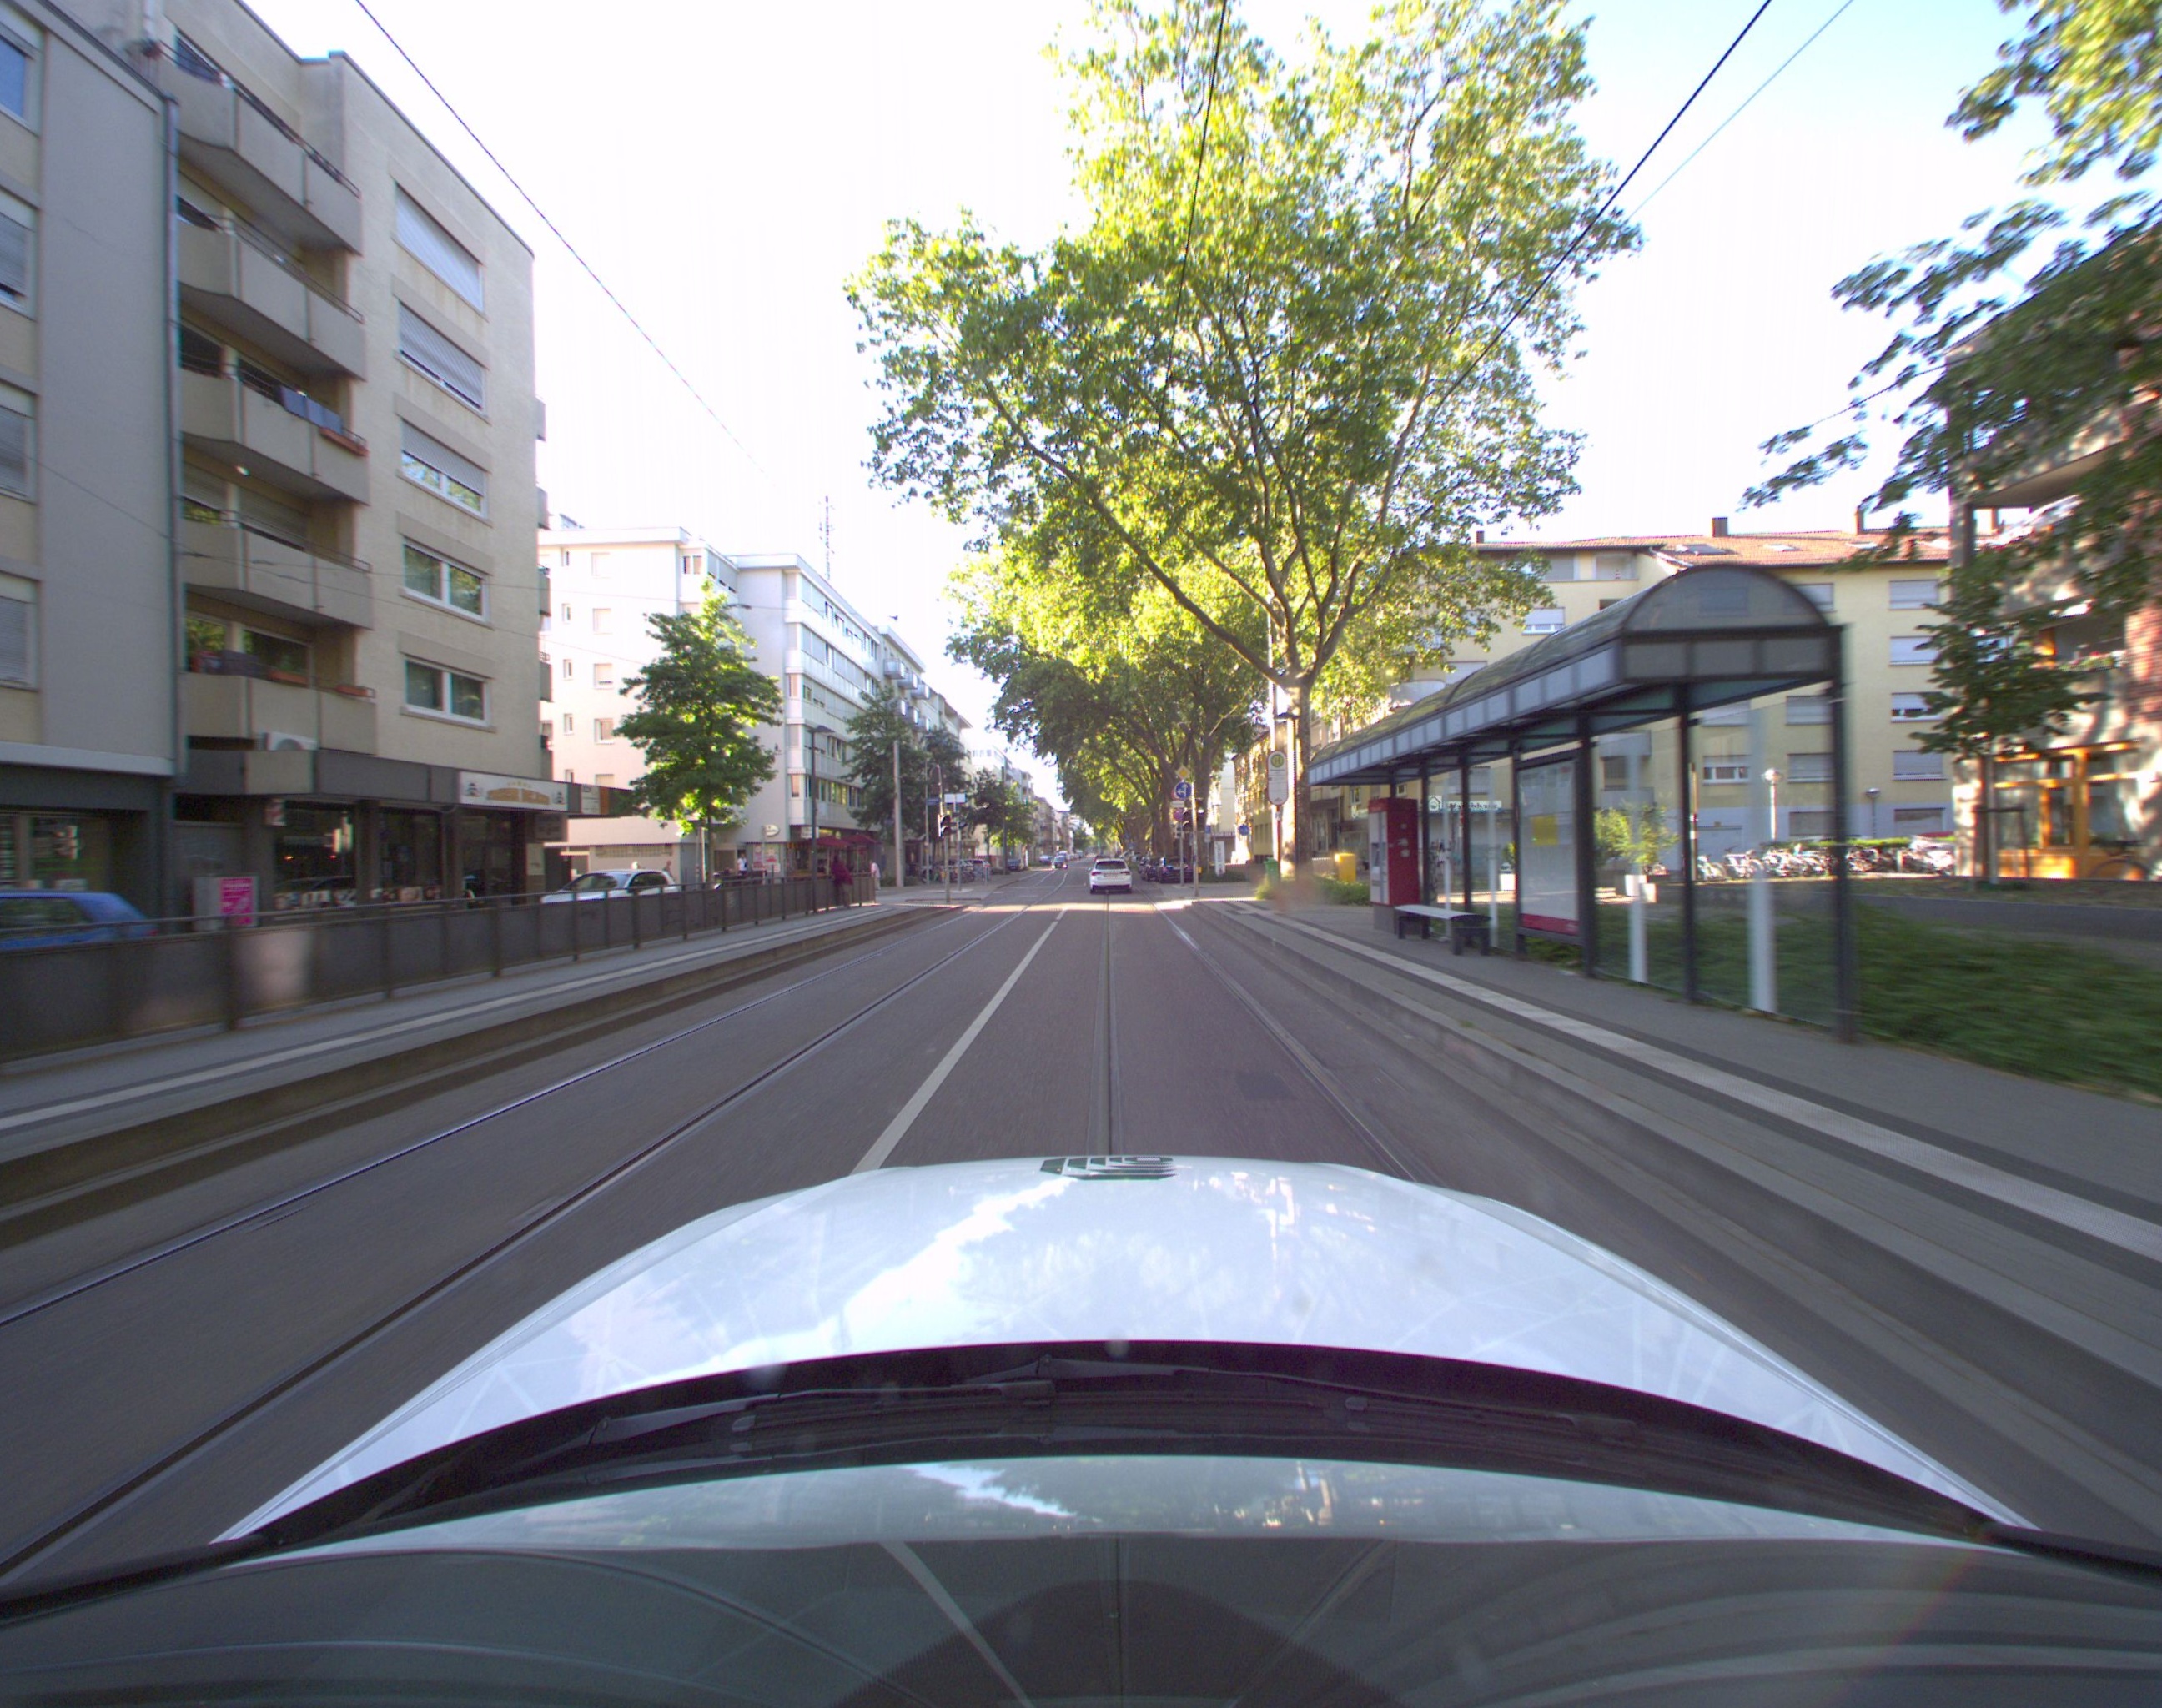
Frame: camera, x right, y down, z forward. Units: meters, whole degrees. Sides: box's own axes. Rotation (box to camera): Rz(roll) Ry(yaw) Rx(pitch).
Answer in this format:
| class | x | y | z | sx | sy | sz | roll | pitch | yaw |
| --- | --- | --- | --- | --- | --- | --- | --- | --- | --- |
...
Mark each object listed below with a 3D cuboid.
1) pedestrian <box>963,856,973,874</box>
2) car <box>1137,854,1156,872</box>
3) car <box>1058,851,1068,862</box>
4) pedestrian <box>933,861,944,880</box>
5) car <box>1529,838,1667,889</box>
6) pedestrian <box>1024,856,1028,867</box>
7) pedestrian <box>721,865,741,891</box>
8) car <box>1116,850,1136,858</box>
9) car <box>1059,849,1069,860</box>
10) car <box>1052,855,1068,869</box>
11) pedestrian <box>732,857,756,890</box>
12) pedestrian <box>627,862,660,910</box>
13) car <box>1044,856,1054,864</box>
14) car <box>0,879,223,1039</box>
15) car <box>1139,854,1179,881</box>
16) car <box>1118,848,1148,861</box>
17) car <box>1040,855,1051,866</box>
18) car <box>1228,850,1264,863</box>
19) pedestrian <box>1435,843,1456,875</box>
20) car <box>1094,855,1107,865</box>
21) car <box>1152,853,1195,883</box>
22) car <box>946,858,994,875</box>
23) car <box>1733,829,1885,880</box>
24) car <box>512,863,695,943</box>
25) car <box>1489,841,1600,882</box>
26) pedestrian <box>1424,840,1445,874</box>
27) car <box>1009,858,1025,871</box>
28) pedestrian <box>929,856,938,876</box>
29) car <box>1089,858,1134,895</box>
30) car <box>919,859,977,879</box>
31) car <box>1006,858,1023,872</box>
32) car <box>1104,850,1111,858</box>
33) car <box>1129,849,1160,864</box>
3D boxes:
| class | x | y | z | sx | sy | sz | roll | pitch | yaw |
| --- | --- | --- | --- | --- | --- | --- | --- | --- | --- |
| pedestrian | -10.398 | 1.014 | 75.203 | 0.761 | 1.691 | 0.794 | -1 | 0 | 0 |
| car | 5.697 | 0.793 | 71.383 | 1.557 | 1.519 | 2.913 | -3 | -1 | 4 |
| car | -4.240 | 0.657 | 194.813 | 2.170 | 2.597 | 4.951 | -2 | 0 | 2 |
| pedestrian | -10.059 | 1.160 | 57.555 | 0.713 | 1.297 | 0.744 | -2 | 0 | -13 |
| car | 18.912 | 0.326 | 29.925 | 3.848 | 1.693 | 1.866 | -2 | 0 | 1 |
| pedestrian | -9.796 | 1.309 | 145.220 | 0.661 | 1.826 | 0.965 | -1 | 0 | 0 |
| pedestrian | -17.595 | 1.202 | 40.932 | 0.752 | 1.241 | 0.761 | -2 | 0 | -32 |
| car | 13.951 | 0.029 | 251.749 | 6.111 | 2.282 | 2.528 | -2 | 0 | -1 |
| car | -4.327 | 0.107 | 213.498 | 2.334 | 2.861 | 4.002 | -2 | 0 | 2 |
| car | -2.536 | 0.963 | 98.509 | 1.865 | 1.590 | 4.146 | 1 | 0 | 0 |
| pedestrian | -17.367 | 0.982 | 41.959 | 0.741 | 1.659 | 0.772 | -2 | 0 | 16 |
| pedestrian | -14.783 | 1.063 | 27.531 | 0.723 | 1.556 | 0.725 | -2 | 0 | -3 |
| car | -6.025 | 1.200 | 153.866 | 1.648 | 1.437 | 3.836 | -1 | 0 | 0 |
| car | -11.841 | 1.123 | 8.043 | 1.949 | 1.544 | 4.391 | -2 | 0 | 2 |
| car | 4.669 | 0.791 | 49.466 | 1.859 | 1.437 | 4.223 | -3 | 0 | -2 |
| car | 11.101 | 0.180 | 172.916 | 6.111 | 2.635 | 2.528 | -2 | 0 | -1 |
| car | -6.057 | 1.091 | 138.149 | 1.697 | 1.650 | 4.241 | 1 | 0 | 0 |
| car | 21.055 | 0.331 | 103.994 | 4.123 | 1.593 | 1.997 | -1 | 0 | -4 |
| pedestrian | 17.818 | 0.229 | 39.829 | 0.694 | 1.539 | 0.695 | -2 | 0 | 42 |
| car | 2.946 | 0.862 | 121.775 | 1.755 | 1.475 | 4.002 | -2 | 0 | 2 |
| car | 4.991 | 0.718 | 44.466 | 1.759 | 1.462 | 5.011 | -2 | 0 | 0 |
| car | -9.865 | 1.086 | 72.523 | 4.001 | 1.475 | 1.851 | 0 | -1 | -1 |
| car | 26.700 | 0.019 | 29.970 | 3.848 | 1.693 | 1.866 | -2 | 0 | 1 |
| car | -11.639 | 1.118 | 20.278 | 1.871 | 1.651 | 4.358 | -2 | 0 | 1 |
| car | 20.303 | 0.311 | 35.791 | 3.848 | 1.552 | 1.867 | -2 | 2 | 1 |
| pedestrian | 17.761 | 0.153 | 40.936 | 0.704 | 1.682 | 0.656 | -2 | 0 | -26 |
| car | -7.340 | 1.207 | 93.730 | 1.709 | 1.464 | 4.373 | 2 | 0 | -2 |
| pedestrian | -13.056 | 1.055 | 71.992 | 0.661 | 1.691 | 0.748 | -1 | 0 | 0 |
| car | 1.221 | 0.898 | 34.304 | 1.756 | 1.384 | 4.000 | -2 | 0 | 0 |
| car | -9.904 | 1.117 | 60.881 | 3.997 | 1.475 | 1.852 | -1 | -1 | 2 |
| car | -7.272 | 1.171 | 88.940 | 1.710 | 1.464 | 3.992 | 2 | 0 | -5 |
| car | 8.475 | -0.070 | 259.403 | 2.194 | 2.388 | 4.002 | -2 | 0 | 2 |
| car | 9.848 | 0.368 | 125.922 | 4.530 | 2.076 | 2.000 | -2 | 0 | -1 |
